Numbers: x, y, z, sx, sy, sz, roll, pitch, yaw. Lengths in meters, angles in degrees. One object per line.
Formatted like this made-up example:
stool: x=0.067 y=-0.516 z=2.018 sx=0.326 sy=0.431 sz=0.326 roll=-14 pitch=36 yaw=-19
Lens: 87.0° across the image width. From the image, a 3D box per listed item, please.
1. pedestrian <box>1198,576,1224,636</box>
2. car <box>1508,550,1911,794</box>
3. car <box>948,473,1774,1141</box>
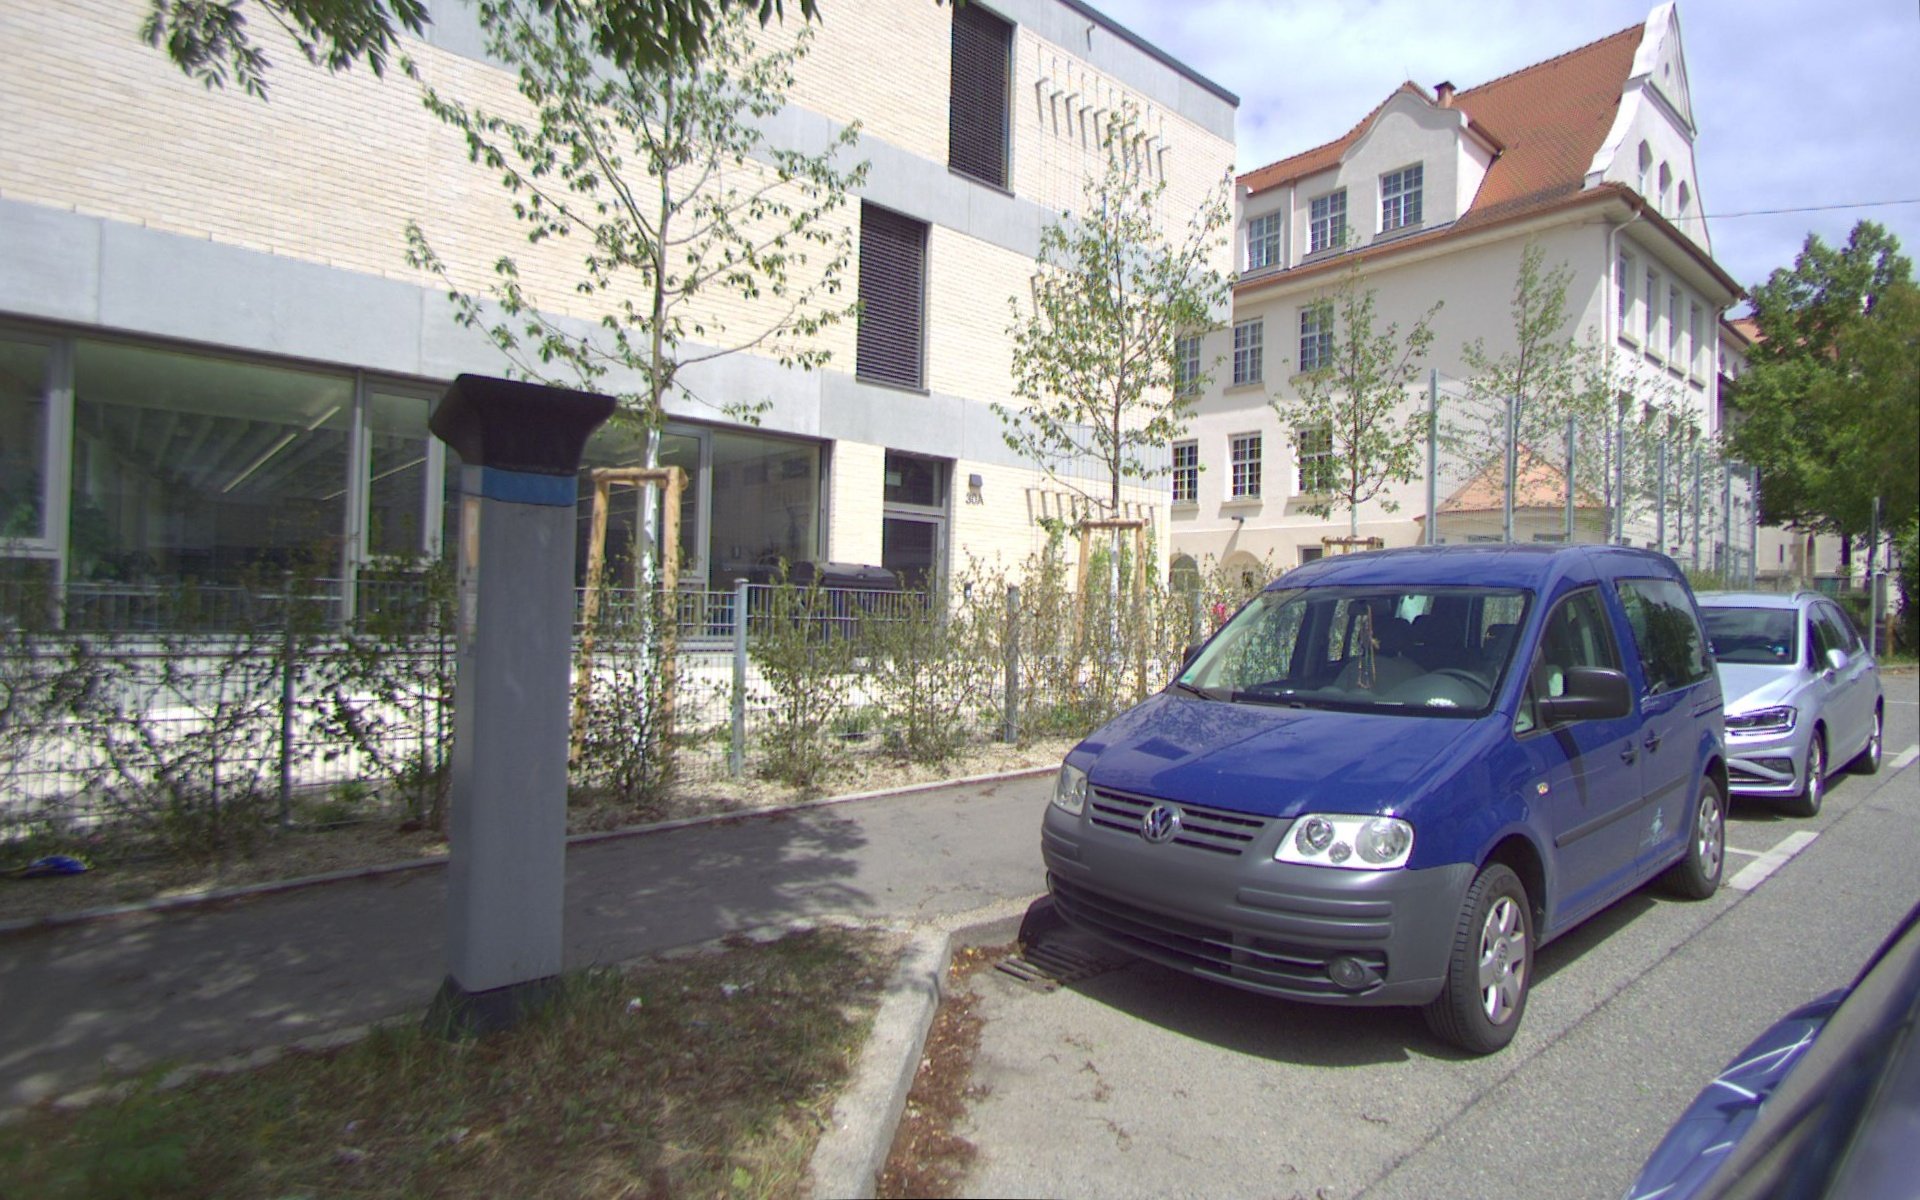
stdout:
pedestrian: x=6.322 y=0.155 z=25.498 sx=0.540 sy=1.484 sz=0.359 roll=-1 pitch=-1 yaw=36
car: x=6.375 y=0.413 z=8.414 sx=4.288 sy=1.528 sz=1.789 roll=-1 pitch=1 yaw=-41
car: x=2.229 y=0.515 z=4.867 sx=4.436 sy=1.790 sz=1.847 roll=-1 pitch=1 yaw=-41
